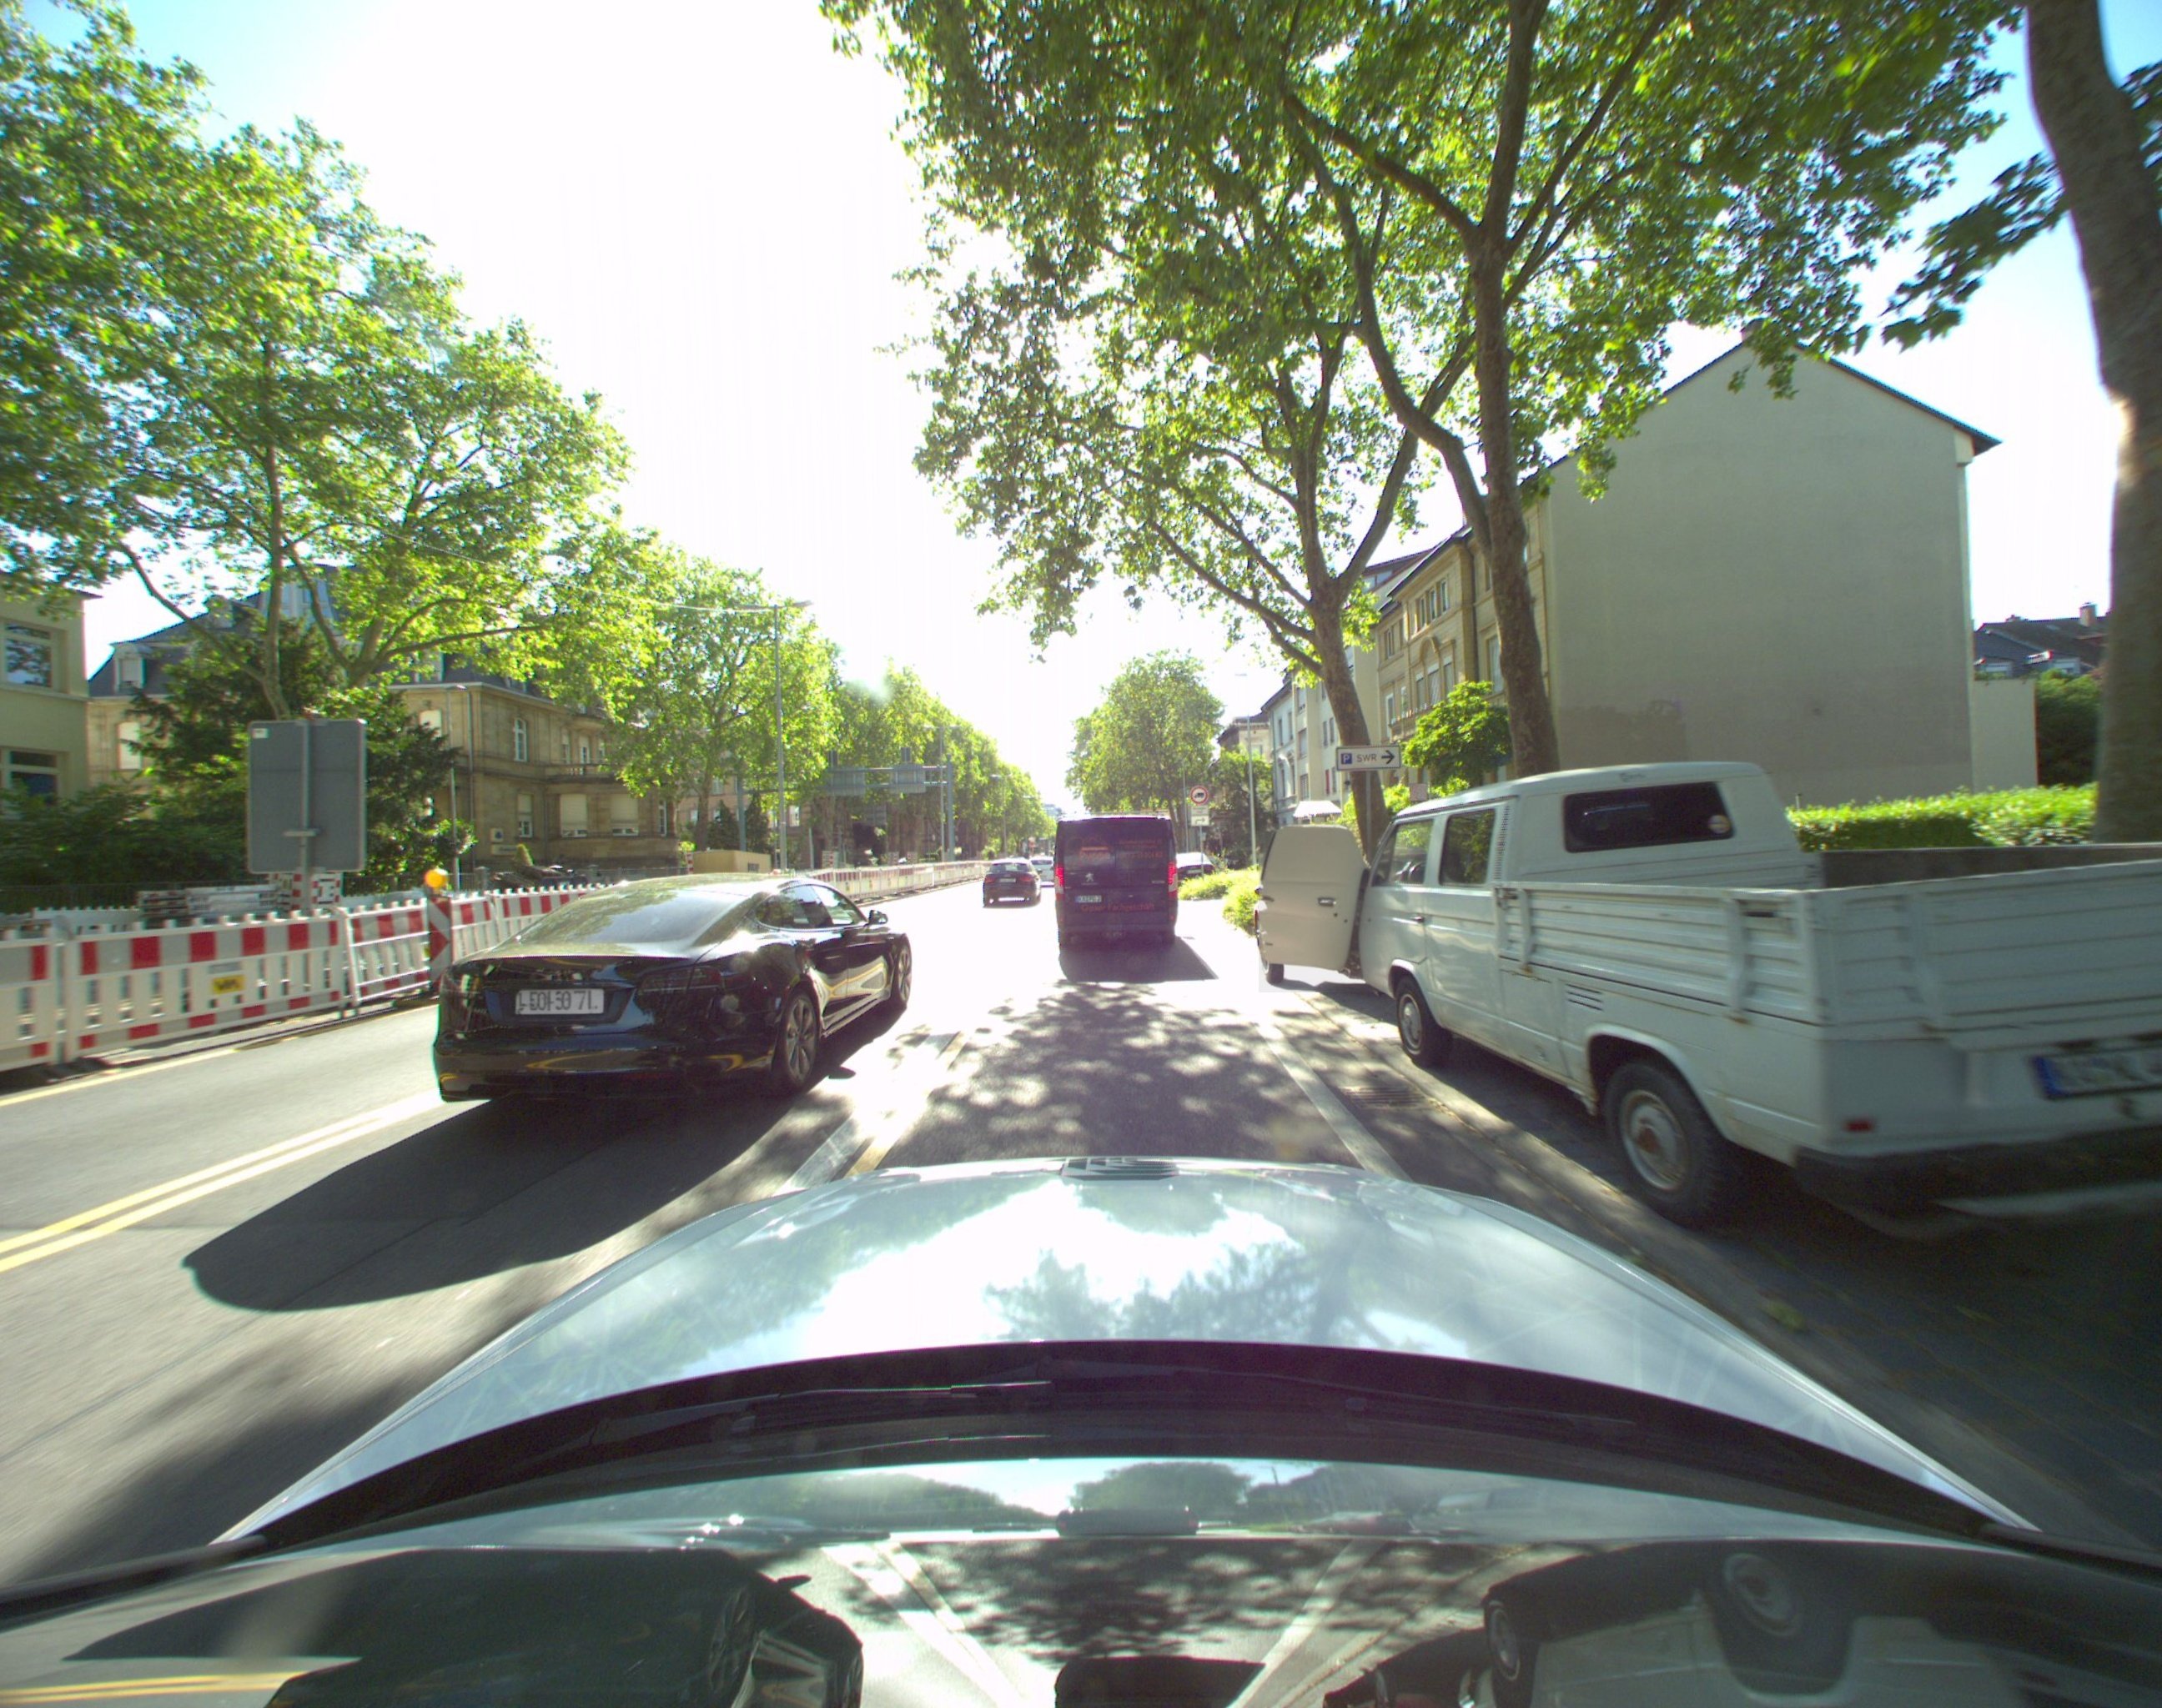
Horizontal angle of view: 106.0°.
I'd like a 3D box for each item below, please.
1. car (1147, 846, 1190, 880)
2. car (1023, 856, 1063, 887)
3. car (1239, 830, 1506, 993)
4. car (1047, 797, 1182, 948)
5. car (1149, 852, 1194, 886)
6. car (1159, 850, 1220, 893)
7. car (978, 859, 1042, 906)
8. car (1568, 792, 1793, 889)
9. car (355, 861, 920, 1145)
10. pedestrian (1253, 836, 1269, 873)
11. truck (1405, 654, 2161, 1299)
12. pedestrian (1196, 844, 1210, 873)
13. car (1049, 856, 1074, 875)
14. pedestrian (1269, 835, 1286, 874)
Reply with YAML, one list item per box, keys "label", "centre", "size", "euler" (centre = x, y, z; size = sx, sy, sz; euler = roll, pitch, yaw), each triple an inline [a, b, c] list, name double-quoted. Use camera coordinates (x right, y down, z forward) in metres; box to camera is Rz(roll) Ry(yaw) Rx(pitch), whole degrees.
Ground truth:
- label: "car"
  centre: [4.683, 0.495, 44.146]
  size: [1.838, 1.644, 3.800]
  euler: [-4, 0, 0]
- label: "car"
  centre: [-1.841, 0.823, 40.371]
  size: [1.541, 1.425, 3.559]
  euler: [-2, 0, 4]
- label: "car"
  centre: [3.306, 0.578, 10.331]
  size: [1.814, 1.507, 4.679]
  euler: [-3, 0, 2]
- label: "car"
  centre: [0.561, 0.279, 14.935]
  size: [2.088, 2.355, 3.933]
  euler: [-1, 0, 1]
- label: "car"
  centre: [4.107, 0.673, 37.365]
  size: [1.836, 1.408, 3.804]
  euler: [-3, 0, 3]
- label: "car"
  centre: [4.075, 0.614, 31.192]
  size: [1.837, 1.442, 4.489]
  euler: [-3, 0, 2]
- label: "car"
  centre: [-2.243, 0.863, 26.742]
  size: [1.740, 1.407, 3.999]
  euler: [-1, 0, 0]
- label: "car"
  centre: [12.680, -0.255, 17.425]
  size: [1.715, 1.853, 3.473]
  euler: [-1, 0, -31]
- label: "car"
  centre: [-2.771, 0.795, 6.557]
  size: [1.918, 1.412, 4.627]
  euler: [-1, 0, 1]
- label: "pedestrian"
  centre: [8.553, 0.024, 38.735]
  size: [0.671, 1.755, 0.877]
  euler: [-3, -1, 11]
- label: "truck"
  centre: [3.689, 0.338, 4.641]
  size: [1.870, 1.881, 4.454]
  euler: [-3, 0, 1]
- label: "pedestrian"
  centre: [8.706, 0.349, 58.140]
  size: [0.794, 2.013, 1.170]
  euler: [-3, -1, 6]
- label: "car"
  centre: [-1.297, 0.746, 54.709]
  size: [1.415, 1.225, 3.440]
  euler: [-2, 0, 3]
- label: "pedestrian"
  centre: [9.318, 0.024, 38.558]
  size: [0.650, 1.755, 1.016]
  euler: [-3, -1, 11]
